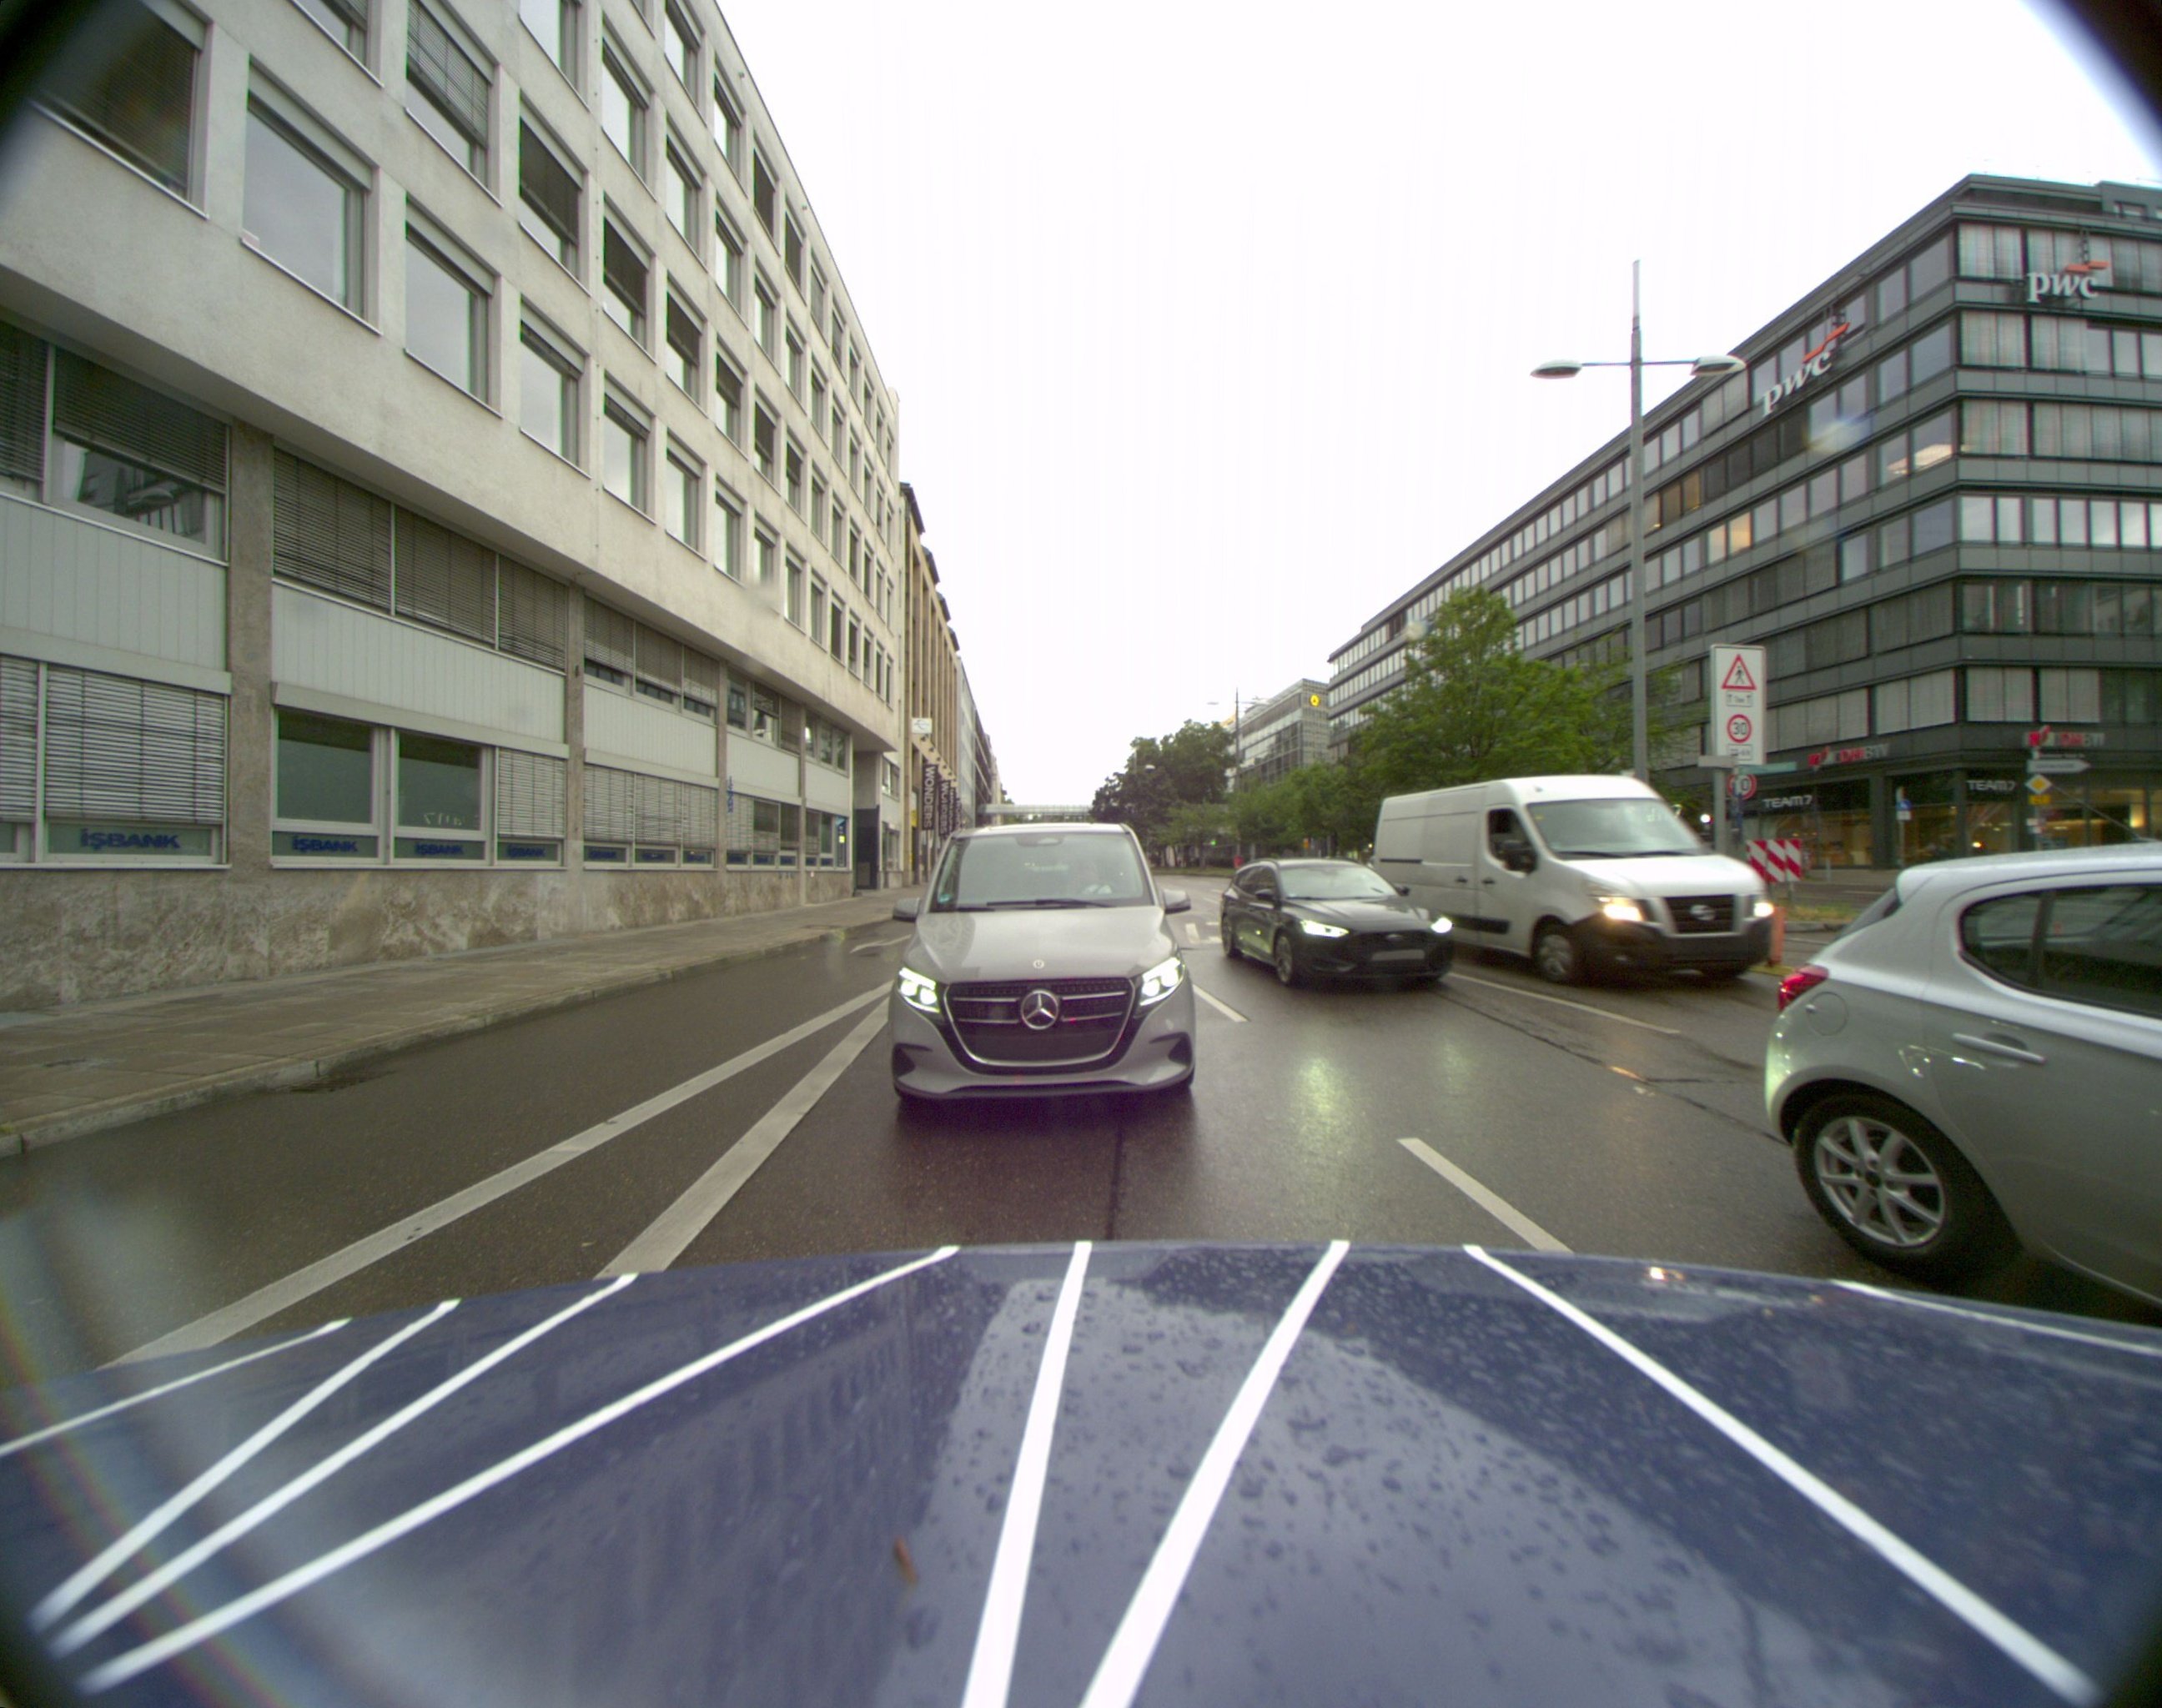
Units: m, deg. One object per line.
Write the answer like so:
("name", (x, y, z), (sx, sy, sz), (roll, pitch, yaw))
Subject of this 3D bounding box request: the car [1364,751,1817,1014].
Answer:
("car", (5.882, 0.274, 9.950), (1.952, 2.426, 5.478), (-2, 0, -4))

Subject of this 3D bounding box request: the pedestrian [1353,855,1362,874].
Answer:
("pedestrian", (29.217, 1.079, 80.308), (0.689, 2.002, 0.501), (-2, 0, -3))

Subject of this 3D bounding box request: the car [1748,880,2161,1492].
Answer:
("car", (3.491, 0.840, 1.069), (1.652, 1.427, 3.875), (-2, 0, 0))

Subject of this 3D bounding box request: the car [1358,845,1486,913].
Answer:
("car", (9.003, 0.622, 20.362), (1.766, 1.608, 3.495), (-2, 0, -1))

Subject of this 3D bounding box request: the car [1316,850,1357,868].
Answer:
("car", (22.376, 0.452, 66.666), (1.999, 1.498, 3.999), (-2, 0, -4))

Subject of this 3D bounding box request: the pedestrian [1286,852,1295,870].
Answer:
("pedestrian", (24.658, 0.808, 89.413), (0.928, 2.002, 0.539), (-2, 0, -1))

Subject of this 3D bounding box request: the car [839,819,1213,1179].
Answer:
("car", (-0.306, 0.776, 6.551), (1.916, 1.844, 5.026), (-2, 0, 0))

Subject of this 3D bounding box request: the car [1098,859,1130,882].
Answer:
("car", (2.105, 1.026, 49.294), (1.776, 1.372, 4.094), (-2, 0, -1))

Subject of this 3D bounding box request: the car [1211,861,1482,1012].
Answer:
("car", (3.032, 0.846, 9.691), (1.776, 1.427, 4.093), (-2, 0, -4))
